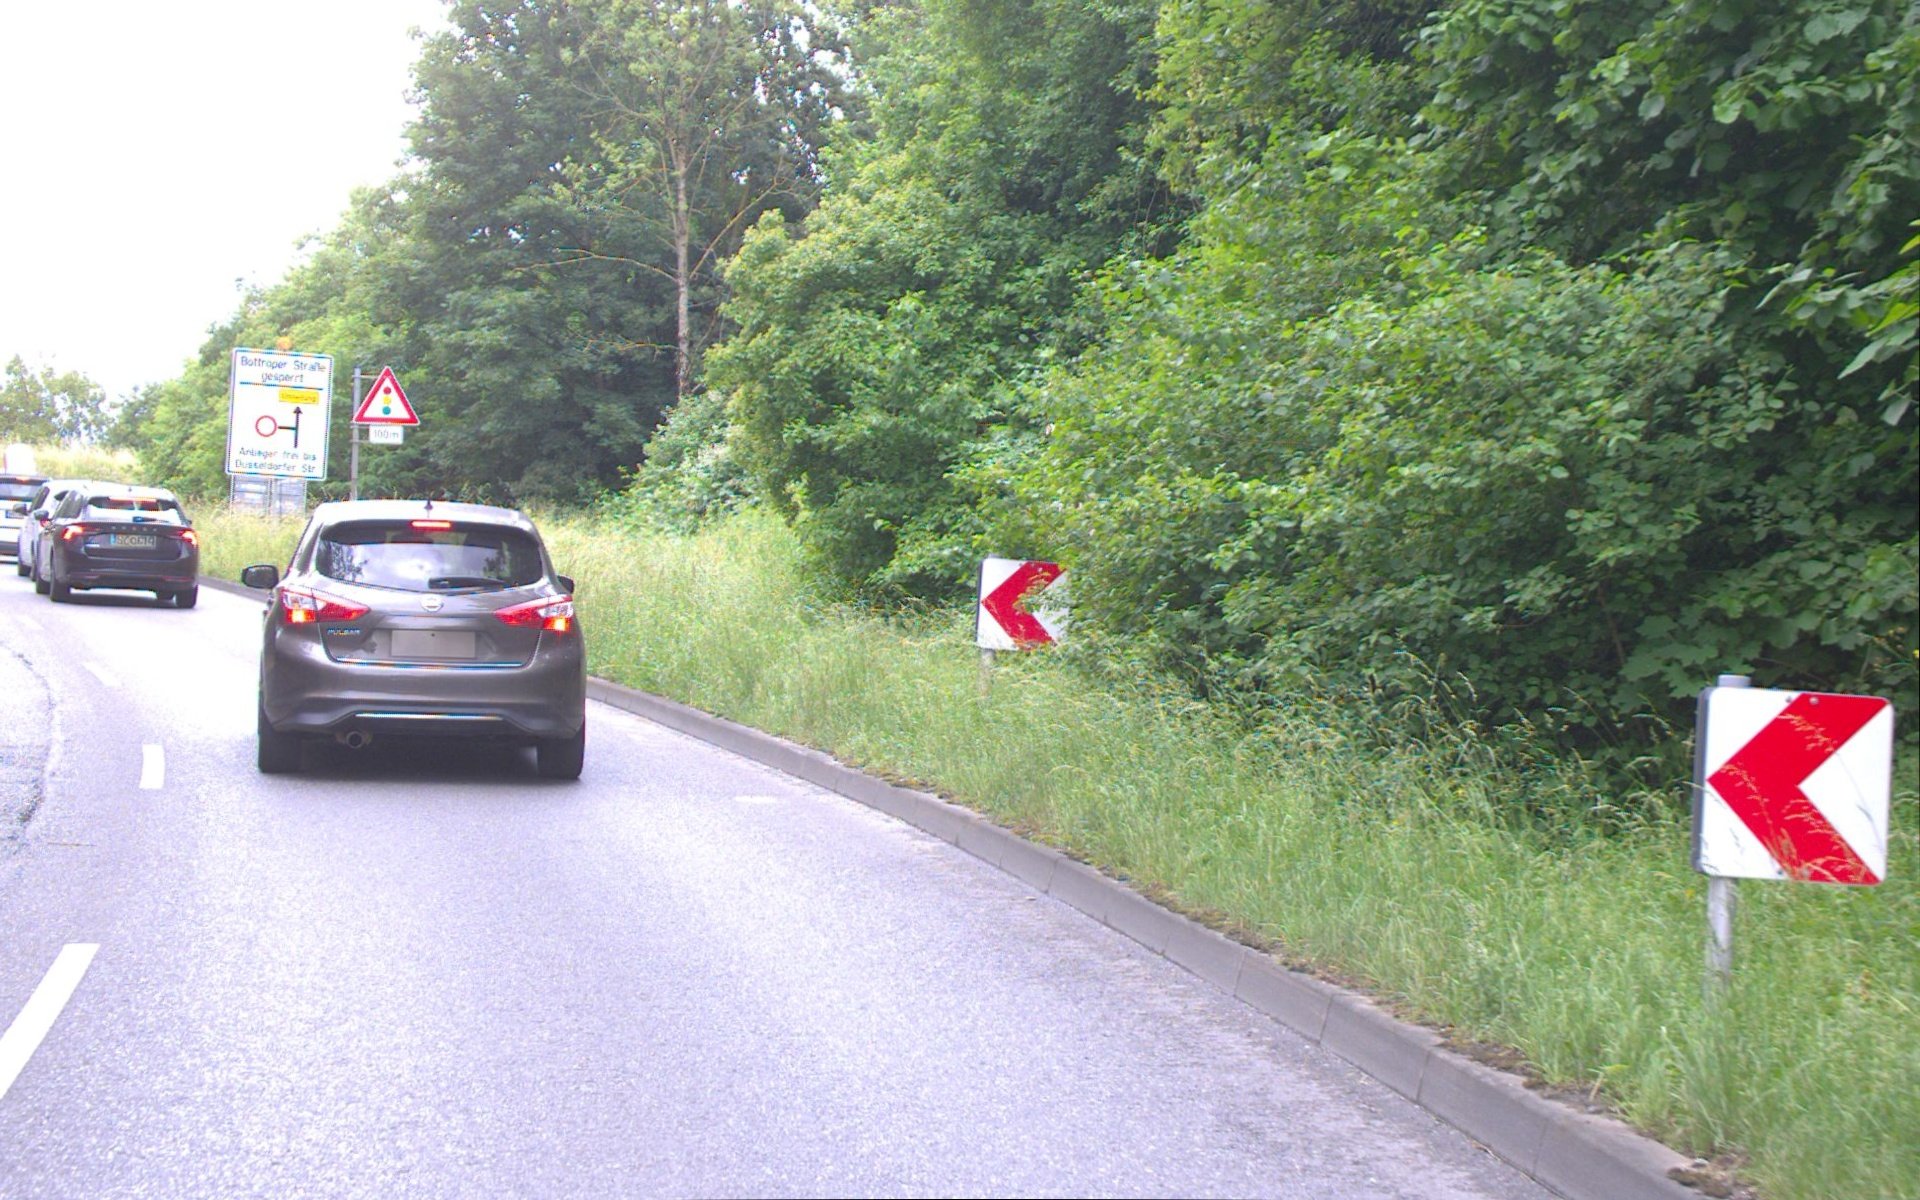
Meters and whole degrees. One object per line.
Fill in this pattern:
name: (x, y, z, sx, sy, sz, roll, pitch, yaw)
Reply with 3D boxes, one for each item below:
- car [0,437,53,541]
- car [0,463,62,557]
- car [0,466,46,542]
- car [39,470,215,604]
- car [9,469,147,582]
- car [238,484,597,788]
car: (-18.611, -2.174, 66.716, 1.735, 1.928, 3.545, 1, 2, -18)
car: (-16.577, -1.587, 59.555, 1.735, 1.551, 3.545, 1, 2, -18)
car: (-20.104, -2.037, 71.915, 1.735, 1.521, 3.545, 1, 2, -17)
car: (-10.455, -0.812, 42.992, 1.829, 1.551, 3.626, 1, 2, -18)
car: (-13.038, -1.125, 50.707, 1.735, 1.551, 3.545, 1, 2, -18)
car: (-3.211, 0.143, 19.842, 1.829, 1.551, 3.500, 2, 2, -12)
